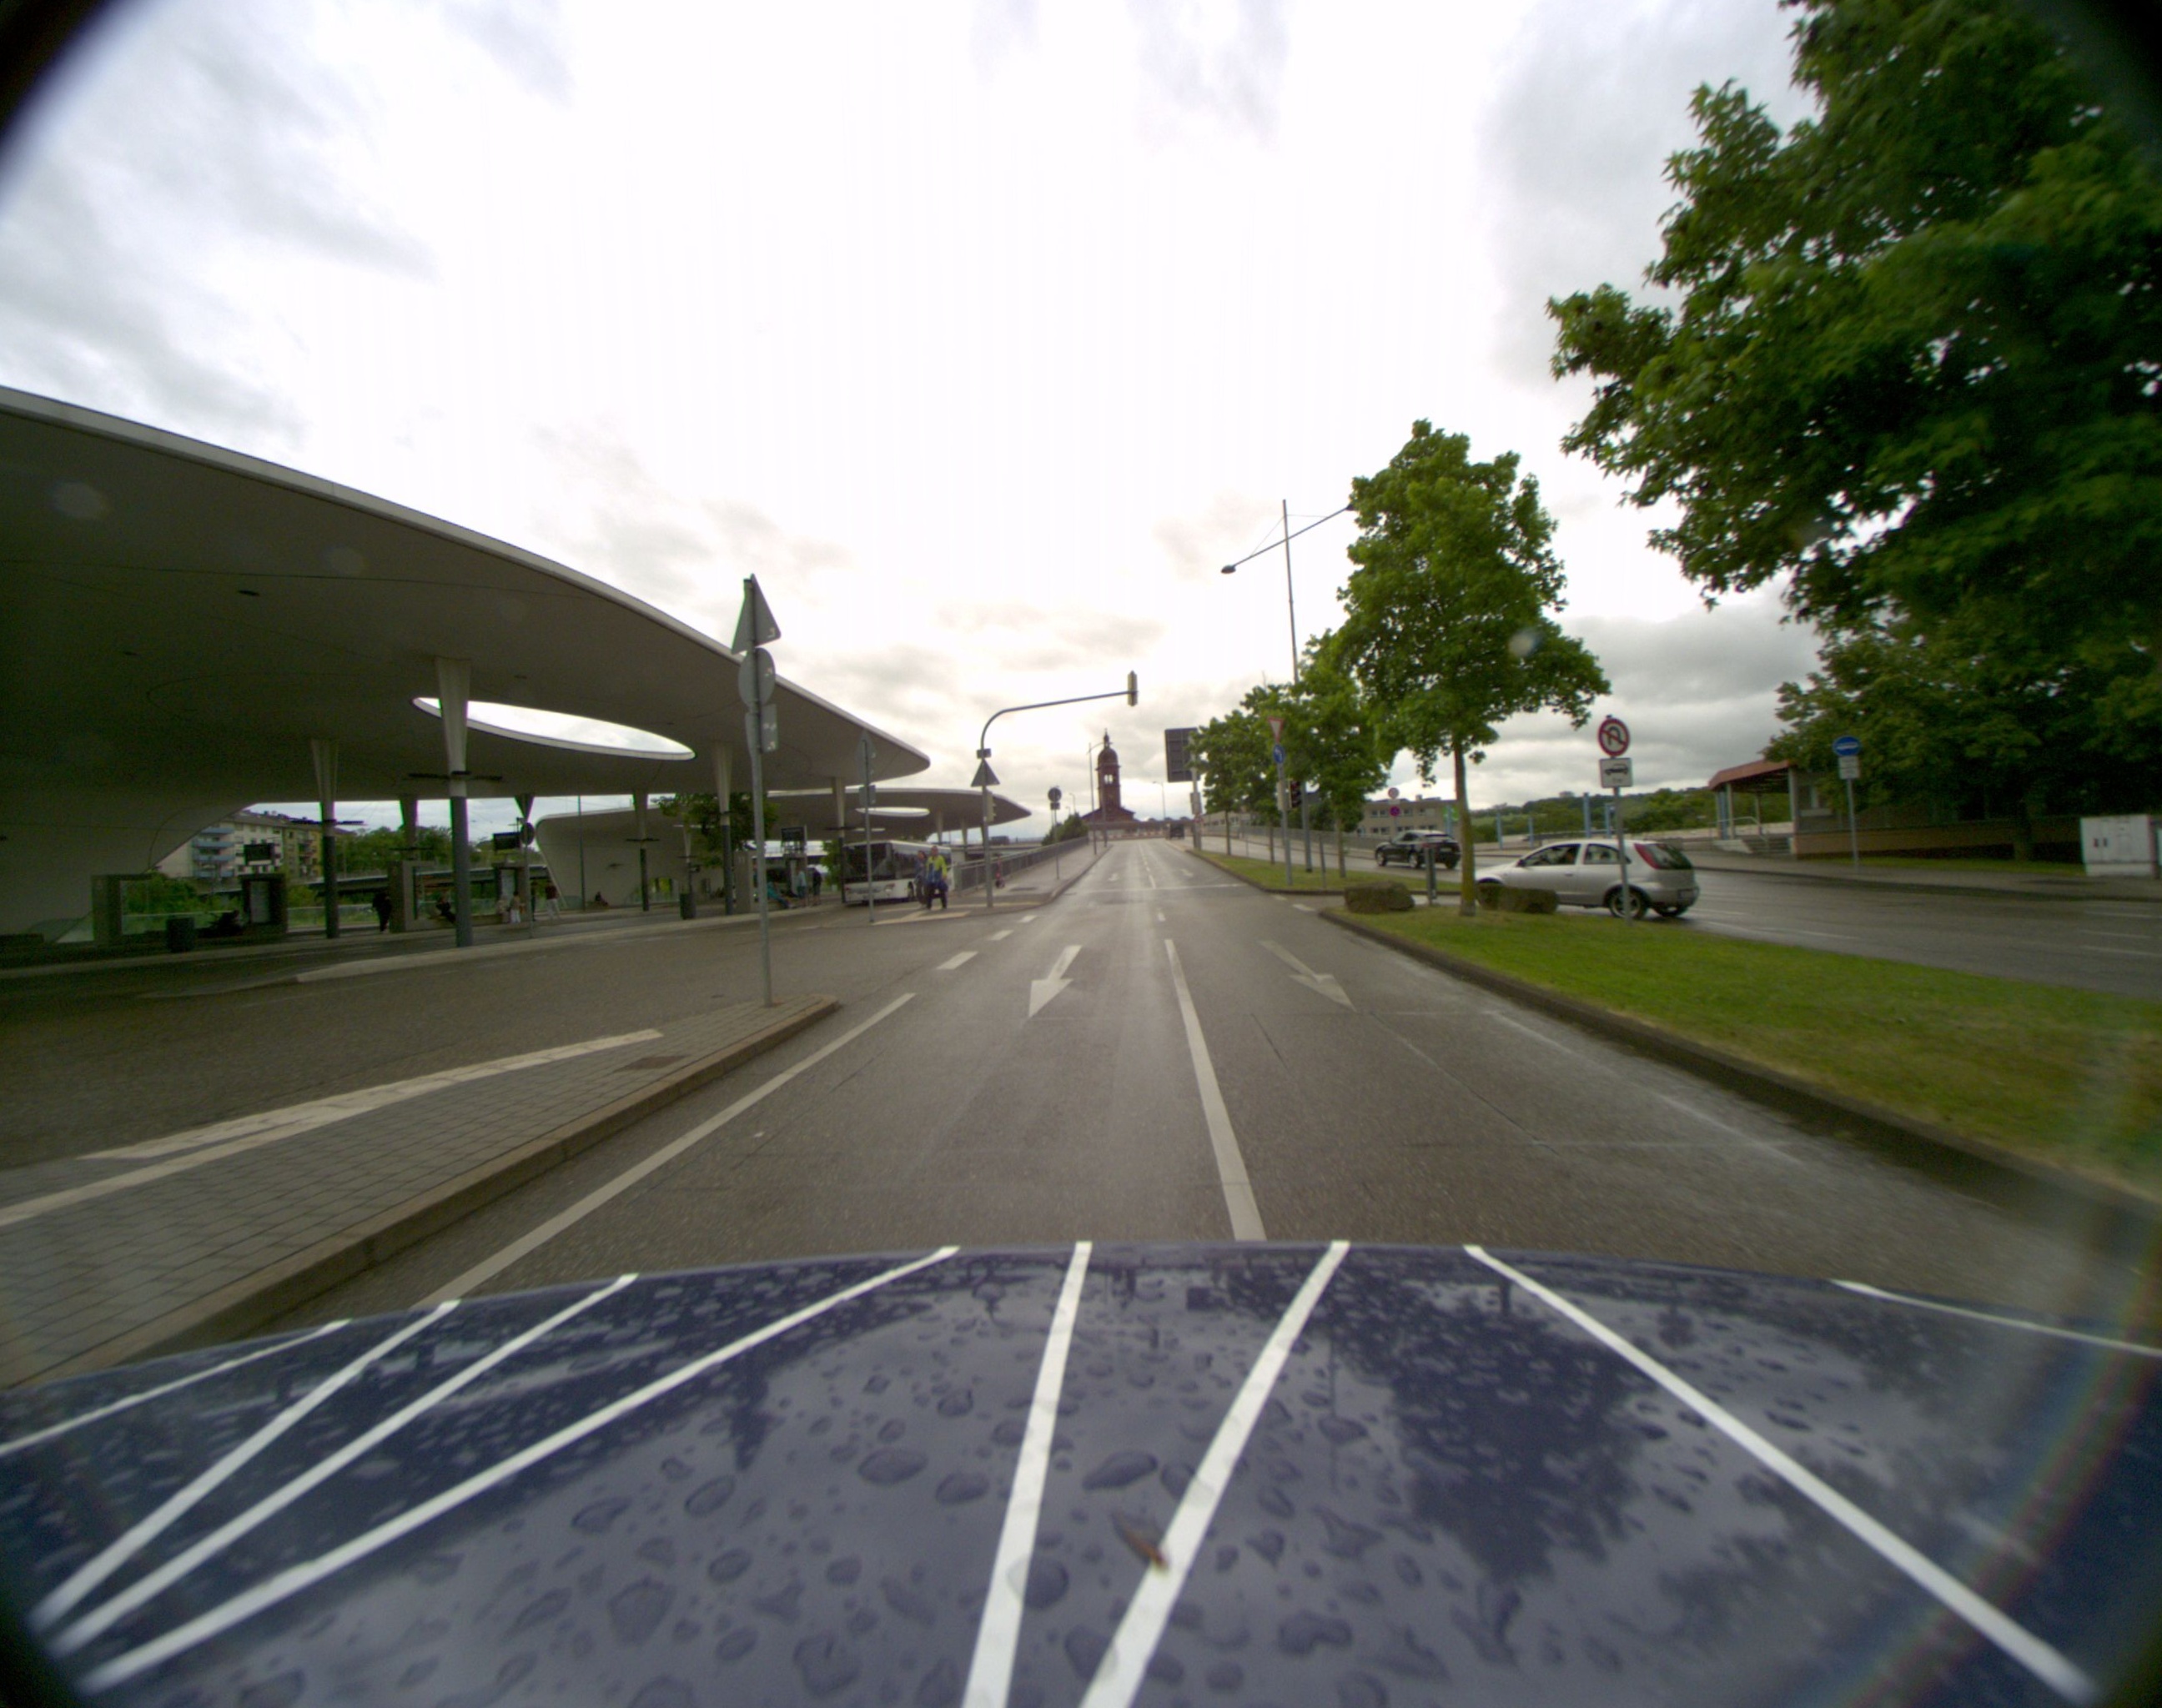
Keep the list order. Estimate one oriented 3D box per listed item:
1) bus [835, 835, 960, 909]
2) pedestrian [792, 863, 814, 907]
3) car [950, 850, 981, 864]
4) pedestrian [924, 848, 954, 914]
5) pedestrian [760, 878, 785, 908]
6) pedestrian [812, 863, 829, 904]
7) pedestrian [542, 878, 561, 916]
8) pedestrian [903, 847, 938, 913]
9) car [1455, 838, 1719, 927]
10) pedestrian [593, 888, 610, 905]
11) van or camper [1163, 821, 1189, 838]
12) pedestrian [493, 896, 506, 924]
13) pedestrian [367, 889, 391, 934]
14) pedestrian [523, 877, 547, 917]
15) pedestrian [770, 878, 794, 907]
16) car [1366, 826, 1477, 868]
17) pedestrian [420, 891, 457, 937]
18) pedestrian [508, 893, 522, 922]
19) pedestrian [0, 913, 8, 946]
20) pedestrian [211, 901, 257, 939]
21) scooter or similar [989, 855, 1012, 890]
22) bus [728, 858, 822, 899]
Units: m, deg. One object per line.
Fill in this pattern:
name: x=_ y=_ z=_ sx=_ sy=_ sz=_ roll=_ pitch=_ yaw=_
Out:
bus: x=-9.514 y=0.834 z=41.432 sx=2.851 sy=3.342 sz=12.429 roll=-2 pitch=0 yaw=4
pedestrian: x=-12.003 y=1.357 z=32.843 sx=0.585 sy=1.875 sz=0.650 roll=0 pitch=-2 yaw=14
car: x=-19.393 y=0.487 z=127.723 sx=4.681 sy=1.956 sz=2.115 roll=-4 pitch=1 yaw=1
pedestrian: x=-3.713 y=0.690 z=19.843 sx=0.523 sy=1.661 sz=0.580 roll=-3 pitch=3 yaw=4
pedestrian: x=-13.090 y=1.638 z=32.283 sx=0.954 sy=1.247 sz=0.648 roll=1 pitch=-2 yaw=-19
pedestrian: x=-12.111 y=1.365 z=35.303 sx=0.650 sy=1.892 sz=0.585 roll=1 pitch=-2 yaw=-31
pedestrian: x=-23.292 y=1.887 z=33.398 sx=0.644 sy=1.645 sz=0.638 roll=-2 pitch=0 yaw=-35
pedestrian: x=-4.260 y=0.692 z=20.206 sx=0.590 sy=1.662 sz=0.580 roll=-5 pitch=4 yaw=4
car: x=9.402 y=0.456 z=14.452 sx=1.639 sy=1.440 sz=3.867 roll=-1 pitch=1 yaw=-29
pedestrian: x=-41.185 y=3.619 z=65.269 sx=0.800 sy=1.317 sz=0.711 roll=-5 pitch=3 yaw=10
van or camper: x=11.818 y=-3.085 z=94.715 sx=2.223 sy=2.061 sz=5.279 roll=-1 pitch=3 yaw=-4
pedestrian: x=-23.162 y=2.234 z=30.271 sx=0.353 sy=1.074 sz=0.391 roll=-2 pitch=0 yaw=-44
pedestrian: x=-24.053 y=1.966 z=26.049 sx=0.522 sy=1.493 sz=0.381 roll=-2 pitch=0 yaw=-35
pedestrian: x=-23.348 y=1.838 z=32.485 sx=0.570 sy=1.645 sz=0.557 roll=-2 pitch=0 yaw=10
pedestrian: x=-12.991 y=1.672 z=33.049 sx=0.954 sy=1.247 sz=0.648 roll=1 pitch=-2 yaw=-19
car: x=14.884 y=-0.378 z=33.546 sx=1.915 sy=1.653 sz=4.850 roll=-3 pitch=3 yaw=-13
pedestrian: x=-23.676 y=2.216 z=28.012 sx=0.589 sy=1.581 sz=0.677 roll=-6 pitch=3 yaw=0
pedestrian: x=-22.789 y=2.144 z=30.594 sx=0.364 sy=1.138 sz=0.395 roll=-2 pitch=0 yaw=-44
pedestrian: x=-43.985 y=3.091 z=30.417 sx=0.710 sy=1.317 sz=0.801 roll=-5 pitch=3 yaw=8
pedestrian: x=-32.991 y=2.553 z=29.610 sx=0.710 sy=1.317 sz=0.801 roll=-5 pitch=3 yaw=12
scooter or similar: x=-2.848 y=0.639 z=27.136 sx=0.464 sy=1.214 sz=1.860 roll=-2 pitch=0 yaw=4
bus: x=-27.690 y=2.077 z=69.600 sx=2.794 sy=3.238 sz=12.145 roll=-2 pitch=0 yaw=4
